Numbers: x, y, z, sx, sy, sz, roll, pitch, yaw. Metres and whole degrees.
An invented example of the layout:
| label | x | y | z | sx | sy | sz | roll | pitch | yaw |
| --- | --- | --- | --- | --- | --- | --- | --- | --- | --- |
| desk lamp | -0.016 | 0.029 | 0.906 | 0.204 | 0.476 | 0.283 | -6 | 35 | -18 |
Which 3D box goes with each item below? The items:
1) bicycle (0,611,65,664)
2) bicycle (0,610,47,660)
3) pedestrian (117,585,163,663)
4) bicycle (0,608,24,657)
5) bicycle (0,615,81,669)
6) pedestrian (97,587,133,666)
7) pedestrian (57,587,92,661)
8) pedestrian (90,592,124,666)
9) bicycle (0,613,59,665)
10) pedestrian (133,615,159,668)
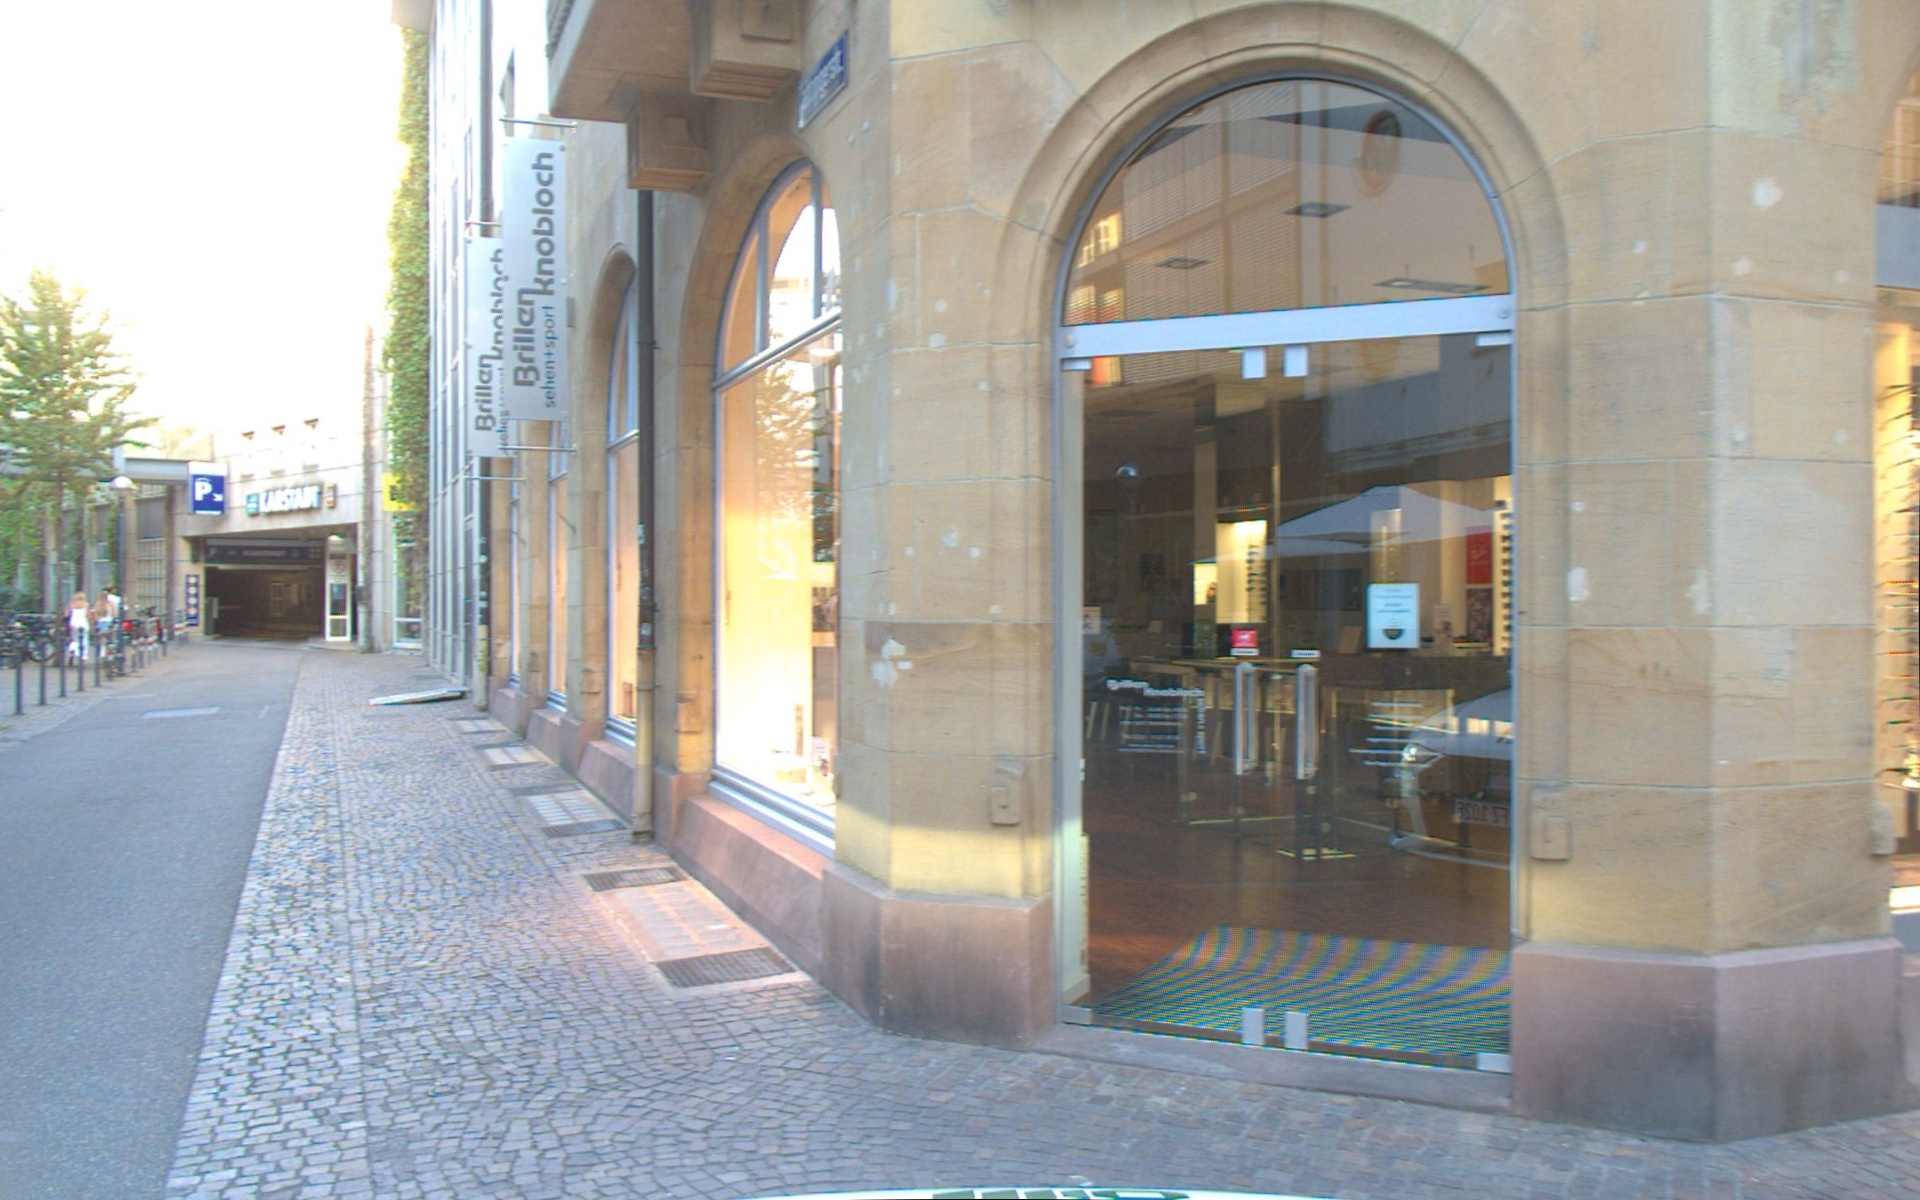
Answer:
| label | x | y | z | sx | sy | sz | roll | pitch | yaw |
| --- | --- | --- | --- | --- | --- | --- | --- | --- | --- |
| bicycle | -22.936 | 0.893 | 39.421 | 2.741 | 1.221 | 0.723 | -1 | 0 | -40 |
| bicycle | -24.035 | 0.870 | 40.617 | 2.741 | 1.221 | 0.746 | -1 | 0 | -40 |
| pedestrian | -19.115 | 0.552 | 38.565 | 0.851 | 1.788 | 0.794 | 0 | -1 | -21 |
| bicycle | -25.222 | 0.835 | 41.690 | 2.741 | 1.221 | 0.723 | -1 | 0 | -40 |
| bicycle | -21.978 | 0.976 | 38.362 | 2.741 | 1.221 | 0.723 | -1 | 0 | -40 |
| pedestrian | -19.311 | 0.605 | 37.791 | 0.621 | 1.788 | 0.794 | 0 | -1 | -20 |
| pedestrian | -19.652 | 0.527 | 36.718 | 0.581 | 1.632 | 0.662 | 0 | -1 | -20 |
| pedestrian | -19.012 | 0.634 | 36.859 | 0.576 | 1.632 | 0.624 | 0 | -1 | -20 |
| bicycle | -23.449 | 0.958 | 40.080 | 2.741 | 1.221 | 0.723 | -1 | 0 | -40 |
| pedestrian | -18.264 | 0.925 | 37.107 | 0.459 | 1.188 | 0.518 | 0 | -1 | -20 |
